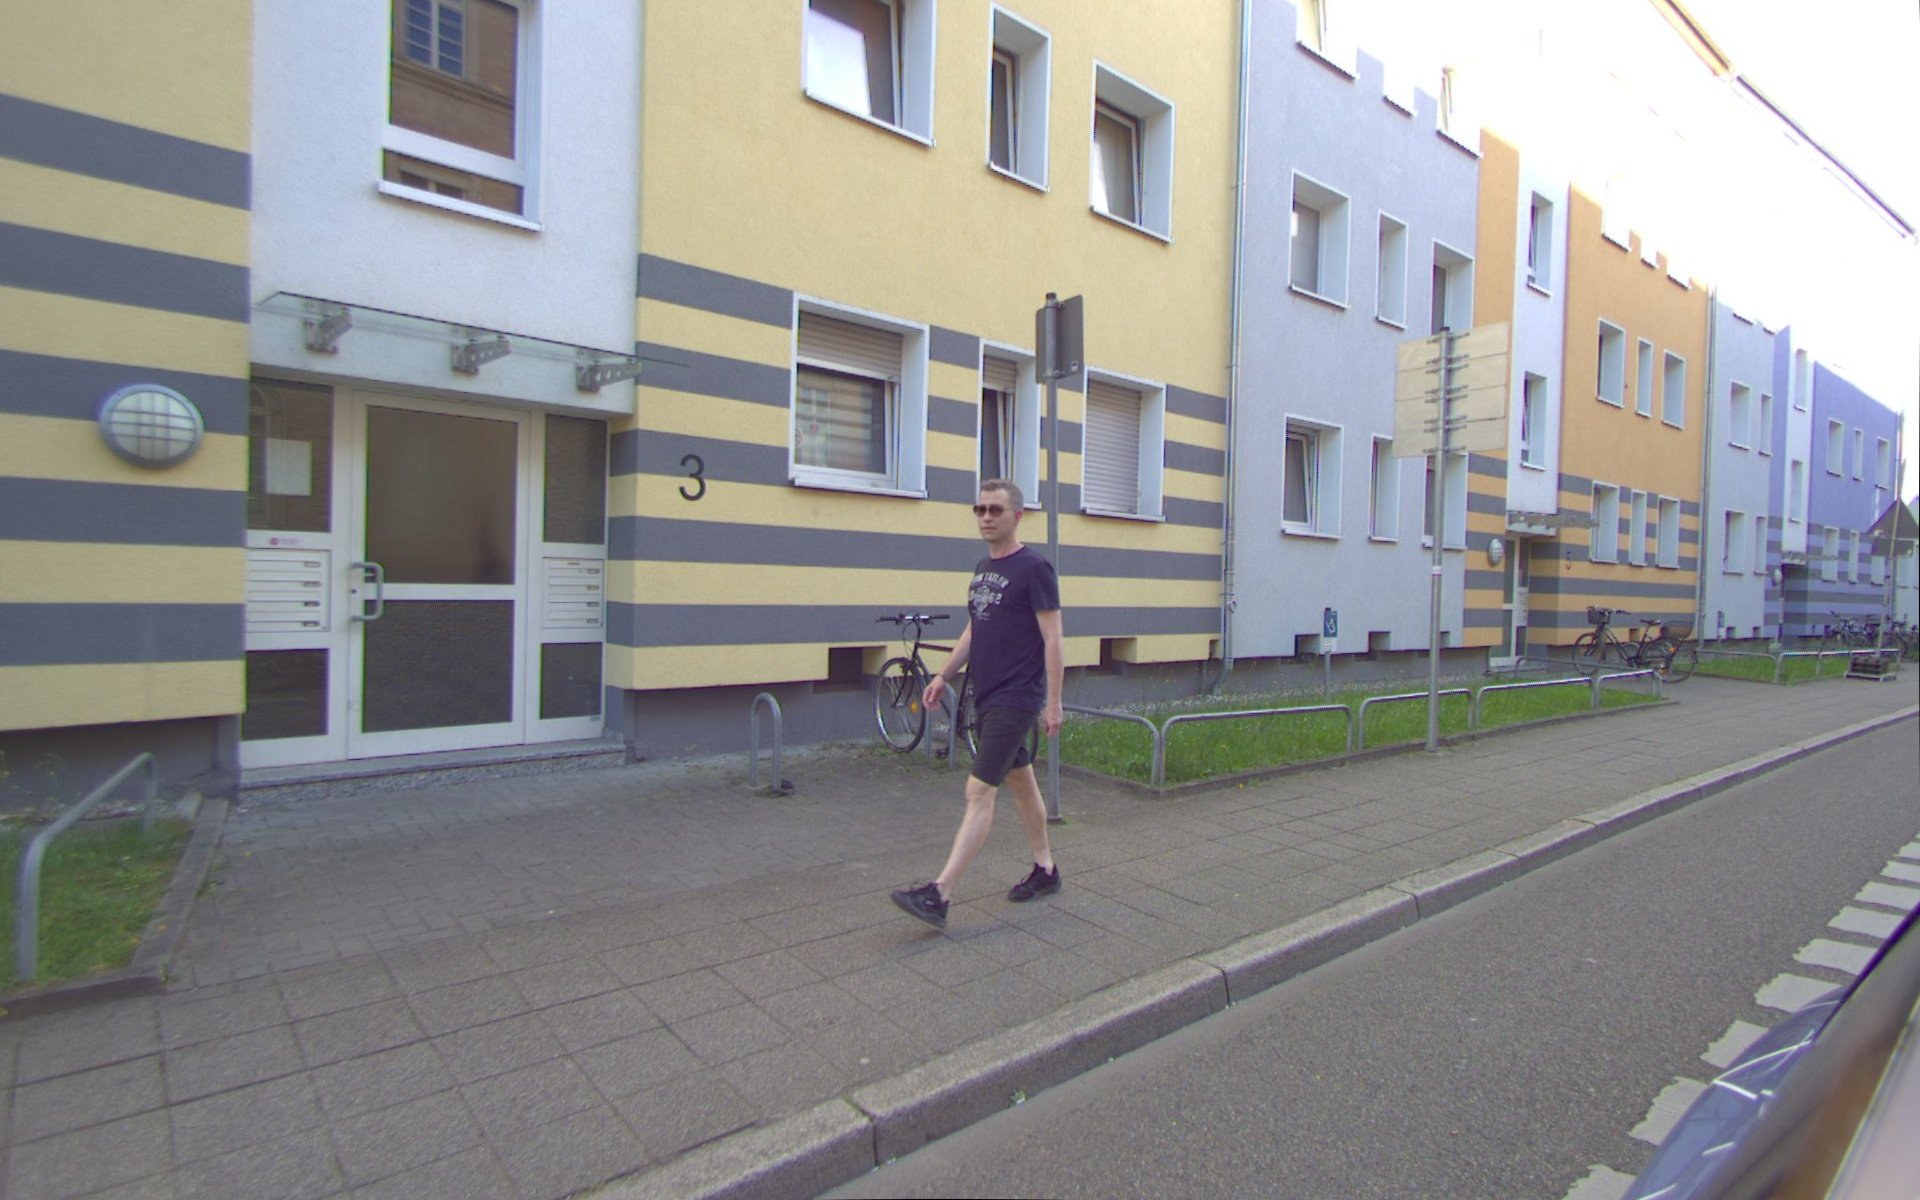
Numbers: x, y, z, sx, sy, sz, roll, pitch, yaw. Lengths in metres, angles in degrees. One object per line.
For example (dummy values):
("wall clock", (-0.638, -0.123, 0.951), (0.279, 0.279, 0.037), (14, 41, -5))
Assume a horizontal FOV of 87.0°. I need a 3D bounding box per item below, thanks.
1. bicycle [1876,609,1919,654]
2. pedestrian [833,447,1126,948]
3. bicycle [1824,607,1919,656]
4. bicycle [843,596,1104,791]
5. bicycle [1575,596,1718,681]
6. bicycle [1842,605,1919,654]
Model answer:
("bicycle", (24.149, 0.810, 25.329), (0.625, 1.048, 1.709), (1, 3, -42))
("pedestrian", (0.076, 0.336, 4.160), (0.898, 1.810, 0.646), (1, 4, -38))
("bicycle", (22.262, 0.749, 24.659), (0.624, 1.058, 1.711), (1, 2, -39))
("bicycle", (0.027, 0.564, 7.036), (0.625, 1.074, 1.946), (1, 3, -42))
("bicycle", (10.721, 0.576, 15.855), (0.625, 1.173, 1.709), (1, 3, -42))
("bicycle", (23.230, 0.734, 25.255), (0.625, 1.095, 1.711), (1, 2, -40))
